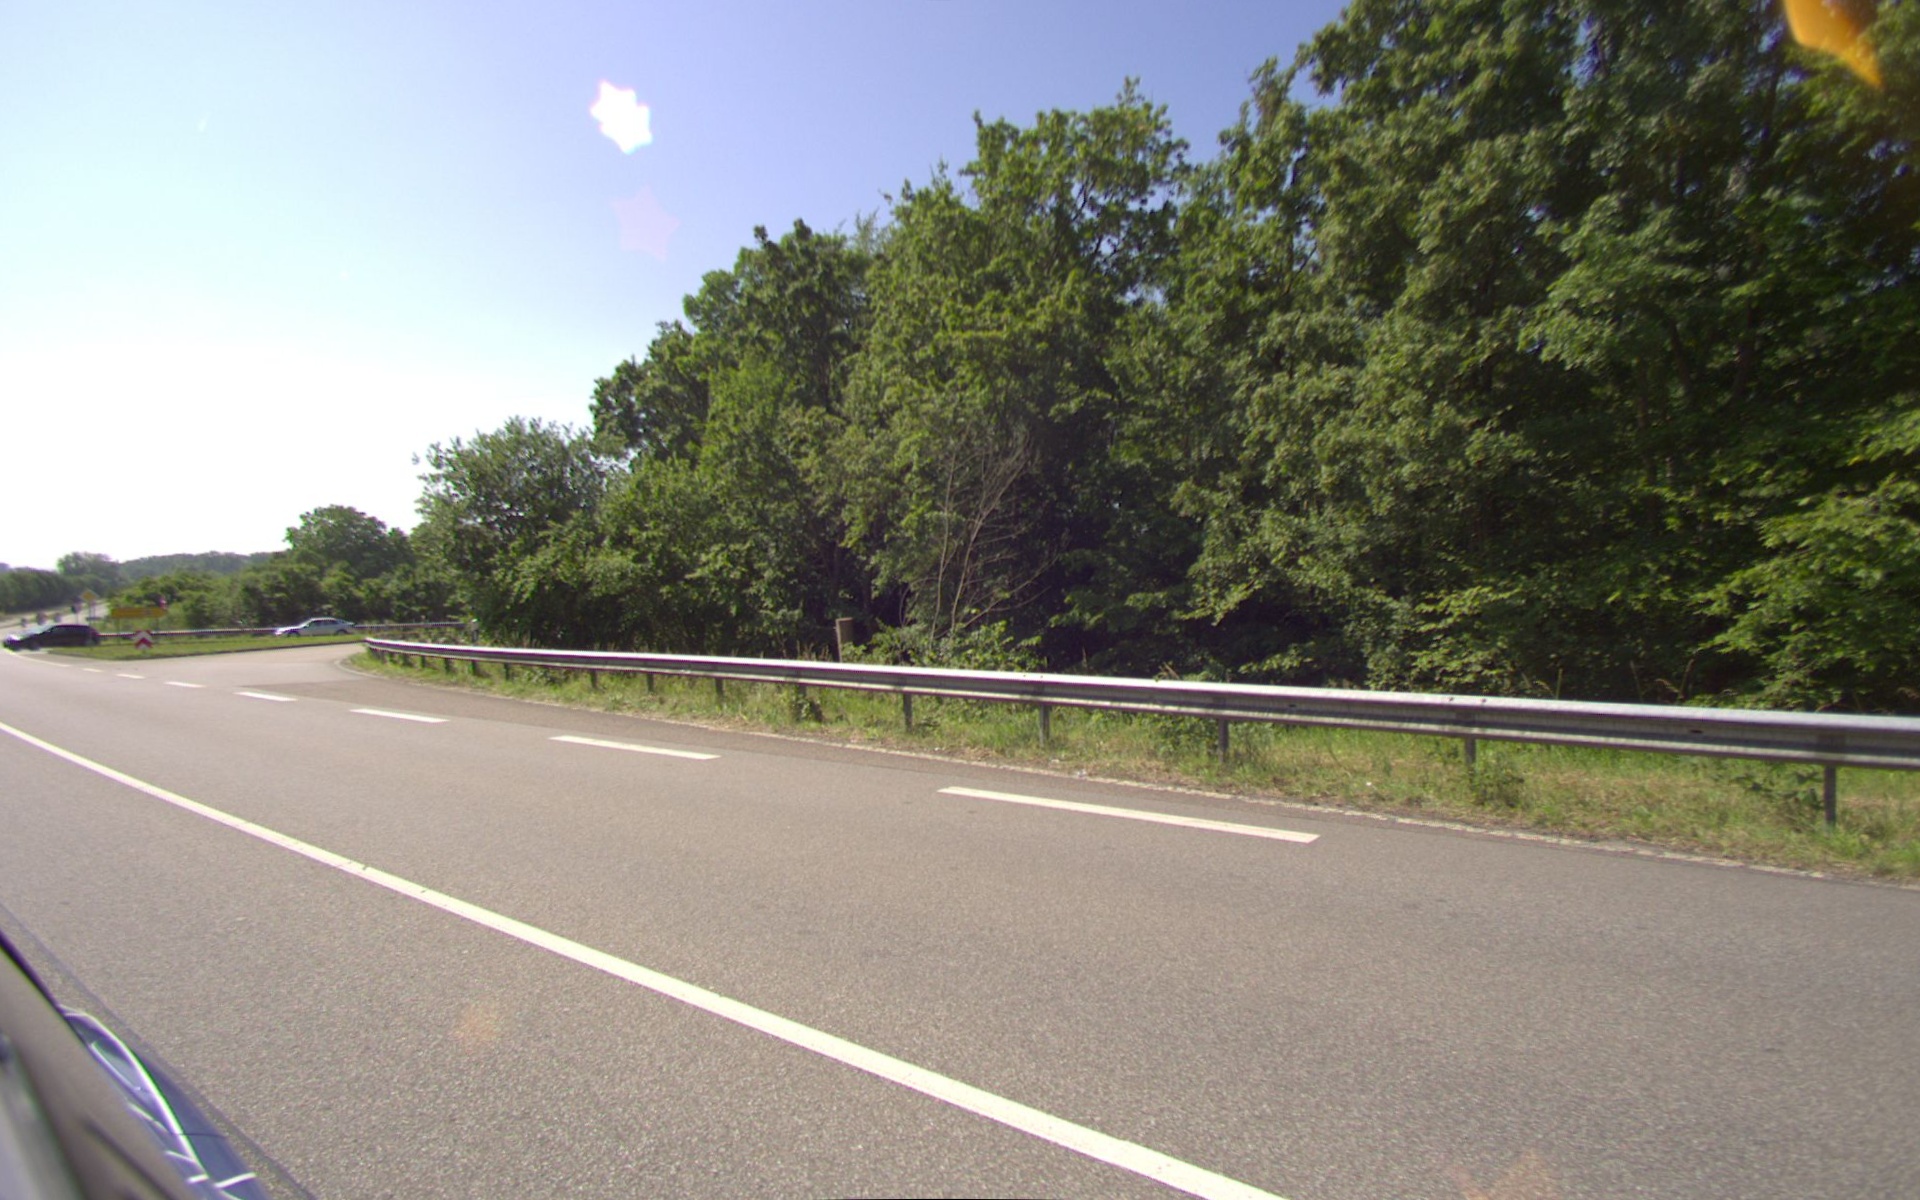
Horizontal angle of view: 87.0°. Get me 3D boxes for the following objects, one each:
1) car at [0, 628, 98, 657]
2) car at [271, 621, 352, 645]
[{"bbox_3d":[-50.190,2.295,55.563,1.776,1.425,3.971,-2,0,22],"label":"car"},{"bbox_3d":[-42.867,2.156,66.957,4.310,1.395,1.791,-1,-1,-41],"label":"car"}]
